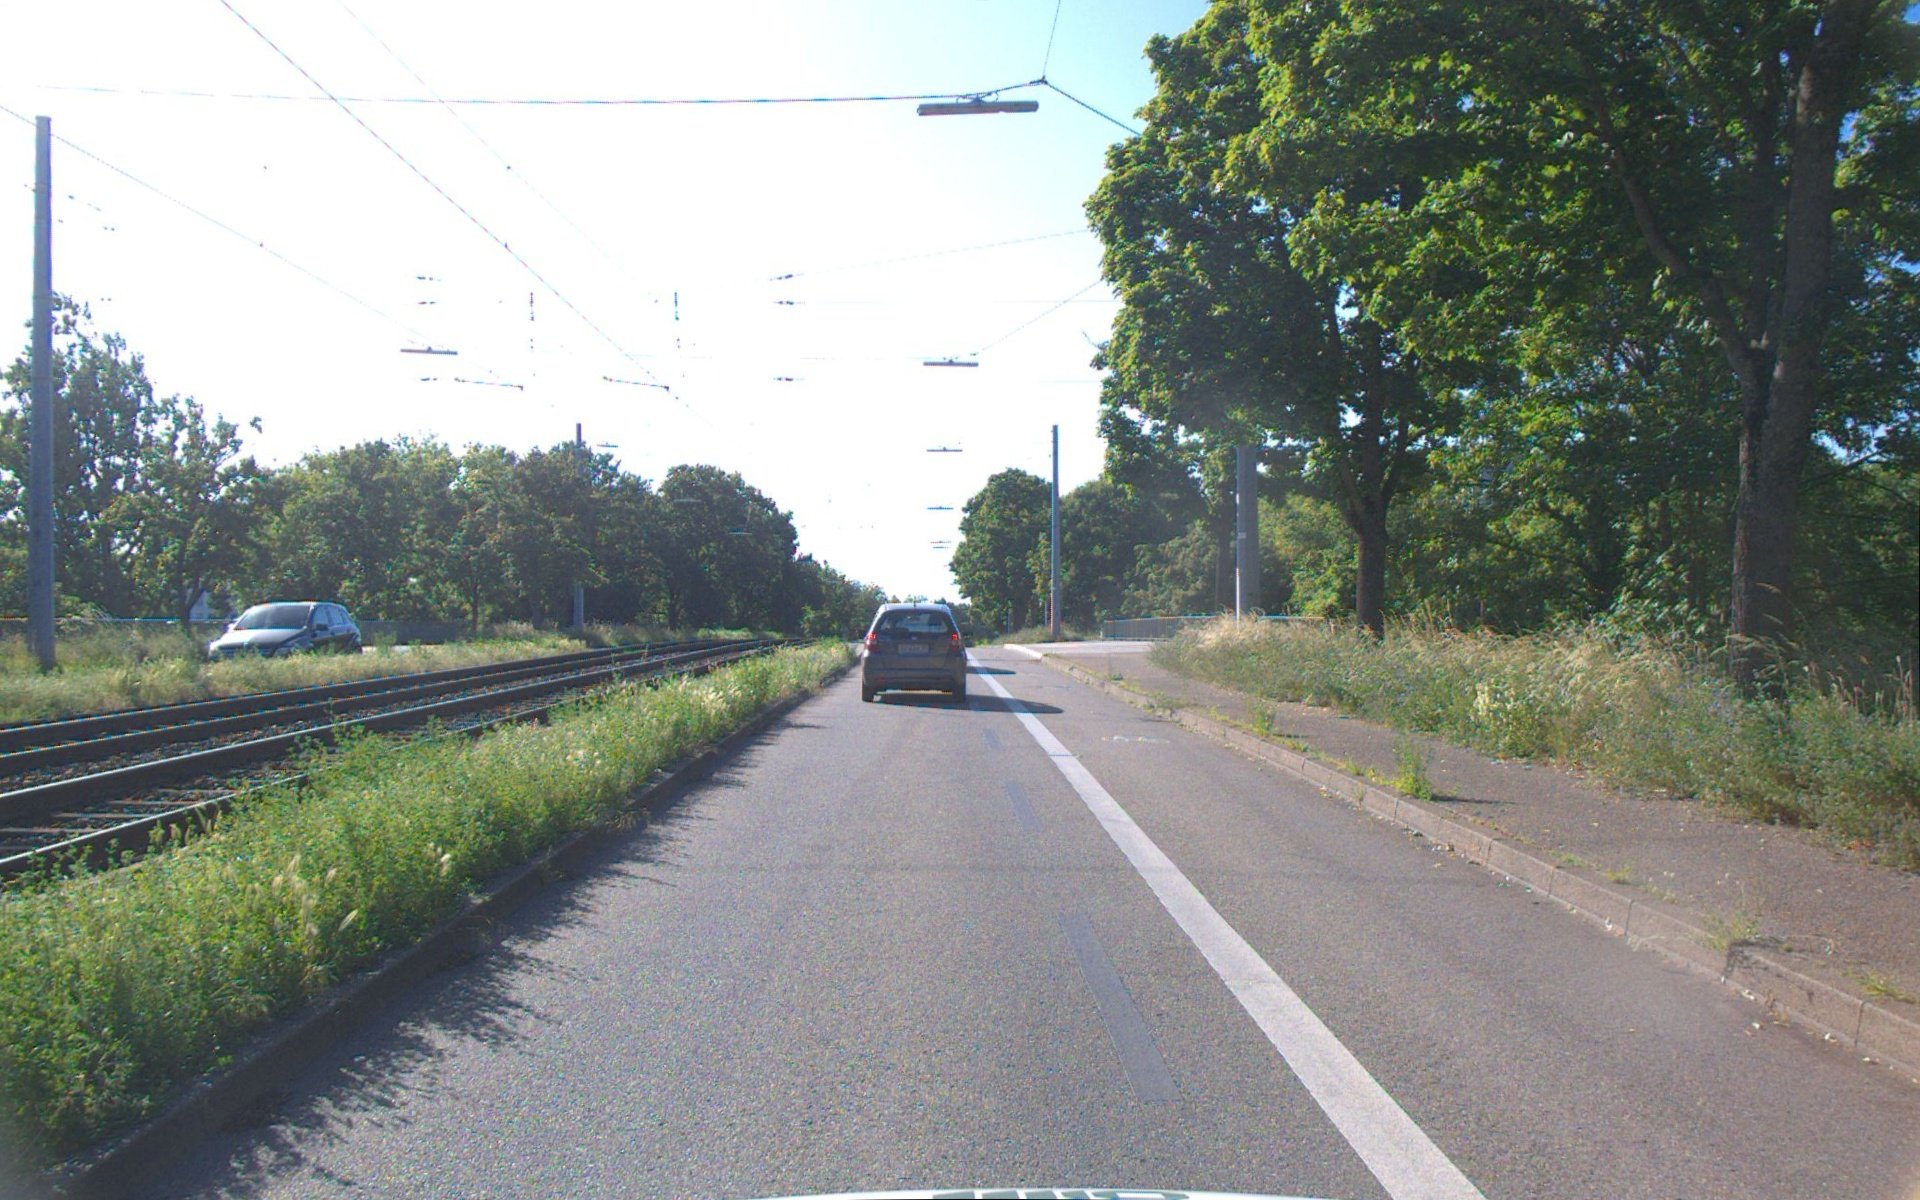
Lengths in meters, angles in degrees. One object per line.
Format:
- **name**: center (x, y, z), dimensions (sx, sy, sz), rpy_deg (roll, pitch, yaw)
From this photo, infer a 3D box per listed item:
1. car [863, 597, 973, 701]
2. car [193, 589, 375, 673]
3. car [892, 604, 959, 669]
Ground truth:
- **car**: center (-0.672, 0.742, 27.074), dimensions (1.636, 1.534, 3.810), rpy_deg (1, 0, -1)
- **car**: center (-13.289, 0.563, 32.815), dimensions (1.772, 1.515, 4.406), rpy_deg (1, 0, 0)
- **car**: center (-0.864, 0.904, 42.633), dimensions (1.621, 1.534, 3.810), rpy_deg (1, 0, 0)
